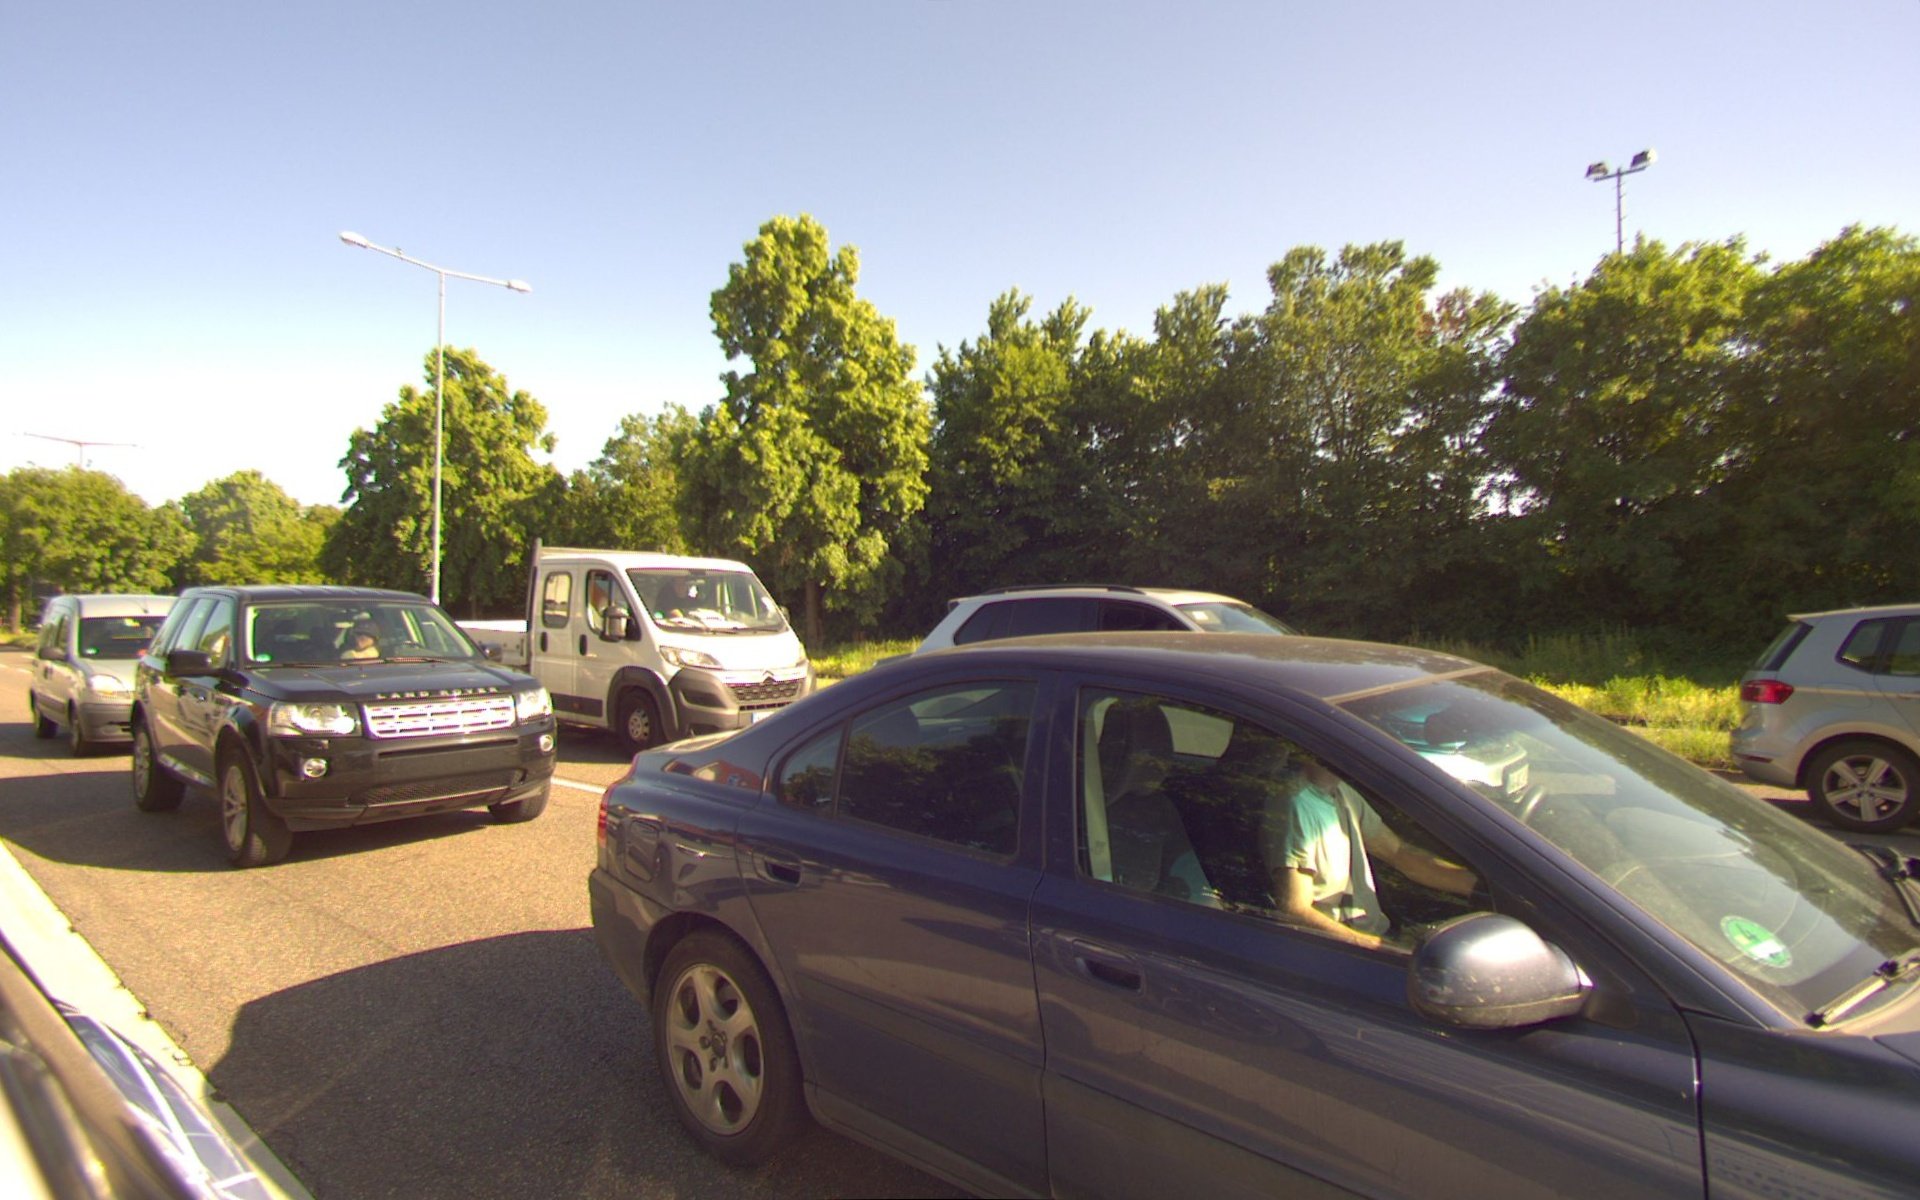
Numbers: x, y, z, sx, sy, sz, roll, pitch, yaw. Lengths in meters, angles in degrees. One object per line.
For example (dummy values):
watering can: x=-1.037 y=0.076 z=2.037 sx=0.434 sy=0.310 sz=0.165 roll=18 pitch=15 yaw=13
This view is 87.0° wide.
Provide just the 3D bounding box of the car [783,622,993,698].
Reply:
car: x=-1.613 y=1.211 z=21.372 sx=4.613 sy=1.444 sz=1.668 roll=-2 pitch=-3 yaw=41

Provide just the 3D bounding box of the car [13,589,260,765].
car: x=-10.047 y=0.799 z=12.222 sx=4.384 sy=1.765 sz=1.611 roll=-1 pitch=-1 yaw=41

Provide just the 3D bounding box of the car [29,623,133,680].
car: x=-24.963 y=1.418 z=28.710 sx=3.929 sy=1.486 sz=1.682 roll=-2 pitch=-2 yaw=41

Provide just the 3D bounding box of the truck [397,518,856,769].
truck: x=-4.429 y=0.440 z=12.474 sx=6.838 sy=2.337 sz=2.158 roll=-1 pitch=-1 yaw=40

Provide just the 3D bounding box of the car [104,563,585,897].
car: x=-4.690 y=0.704 z=7.420 sx=4.384 sy=1.744 sz=1.793 roll=-1 pitch=-1 yaw=41

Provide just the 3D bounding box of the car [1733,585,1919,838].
car: x=7.636 y=0.720 z=6.413 sx=4.206 sy=1.623 sz=1.810 roll=-2 pitch=-3 yaw=42

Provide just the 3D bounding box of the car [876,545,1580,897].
car: x=1.654 y=0.668 z=7.193 sx=4.422 sy=1.723 sz=1.973 roll=-2 pitch=-3 yaw=41

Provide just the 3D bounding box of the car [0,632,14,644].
car: x=-131.252 y=5.178 z=138.726 sx=3.998 sy=1.697 sz=1.854 roll=-2 pitch=-3 yaw=41

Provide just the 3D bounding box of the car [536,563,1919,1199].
car: x=0.897 y=0.693 z=2.425 sx=4.454 sy=1.463 sz=1.757 roll=-1 pitch=0 yaw=41

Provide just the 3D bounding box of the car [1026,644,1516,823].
car: x=3.036 y=1.192 z=10.541 sx=4.550 sy=1.440 sz=1.811 roll=-2 pitch=-3 yaw=41
